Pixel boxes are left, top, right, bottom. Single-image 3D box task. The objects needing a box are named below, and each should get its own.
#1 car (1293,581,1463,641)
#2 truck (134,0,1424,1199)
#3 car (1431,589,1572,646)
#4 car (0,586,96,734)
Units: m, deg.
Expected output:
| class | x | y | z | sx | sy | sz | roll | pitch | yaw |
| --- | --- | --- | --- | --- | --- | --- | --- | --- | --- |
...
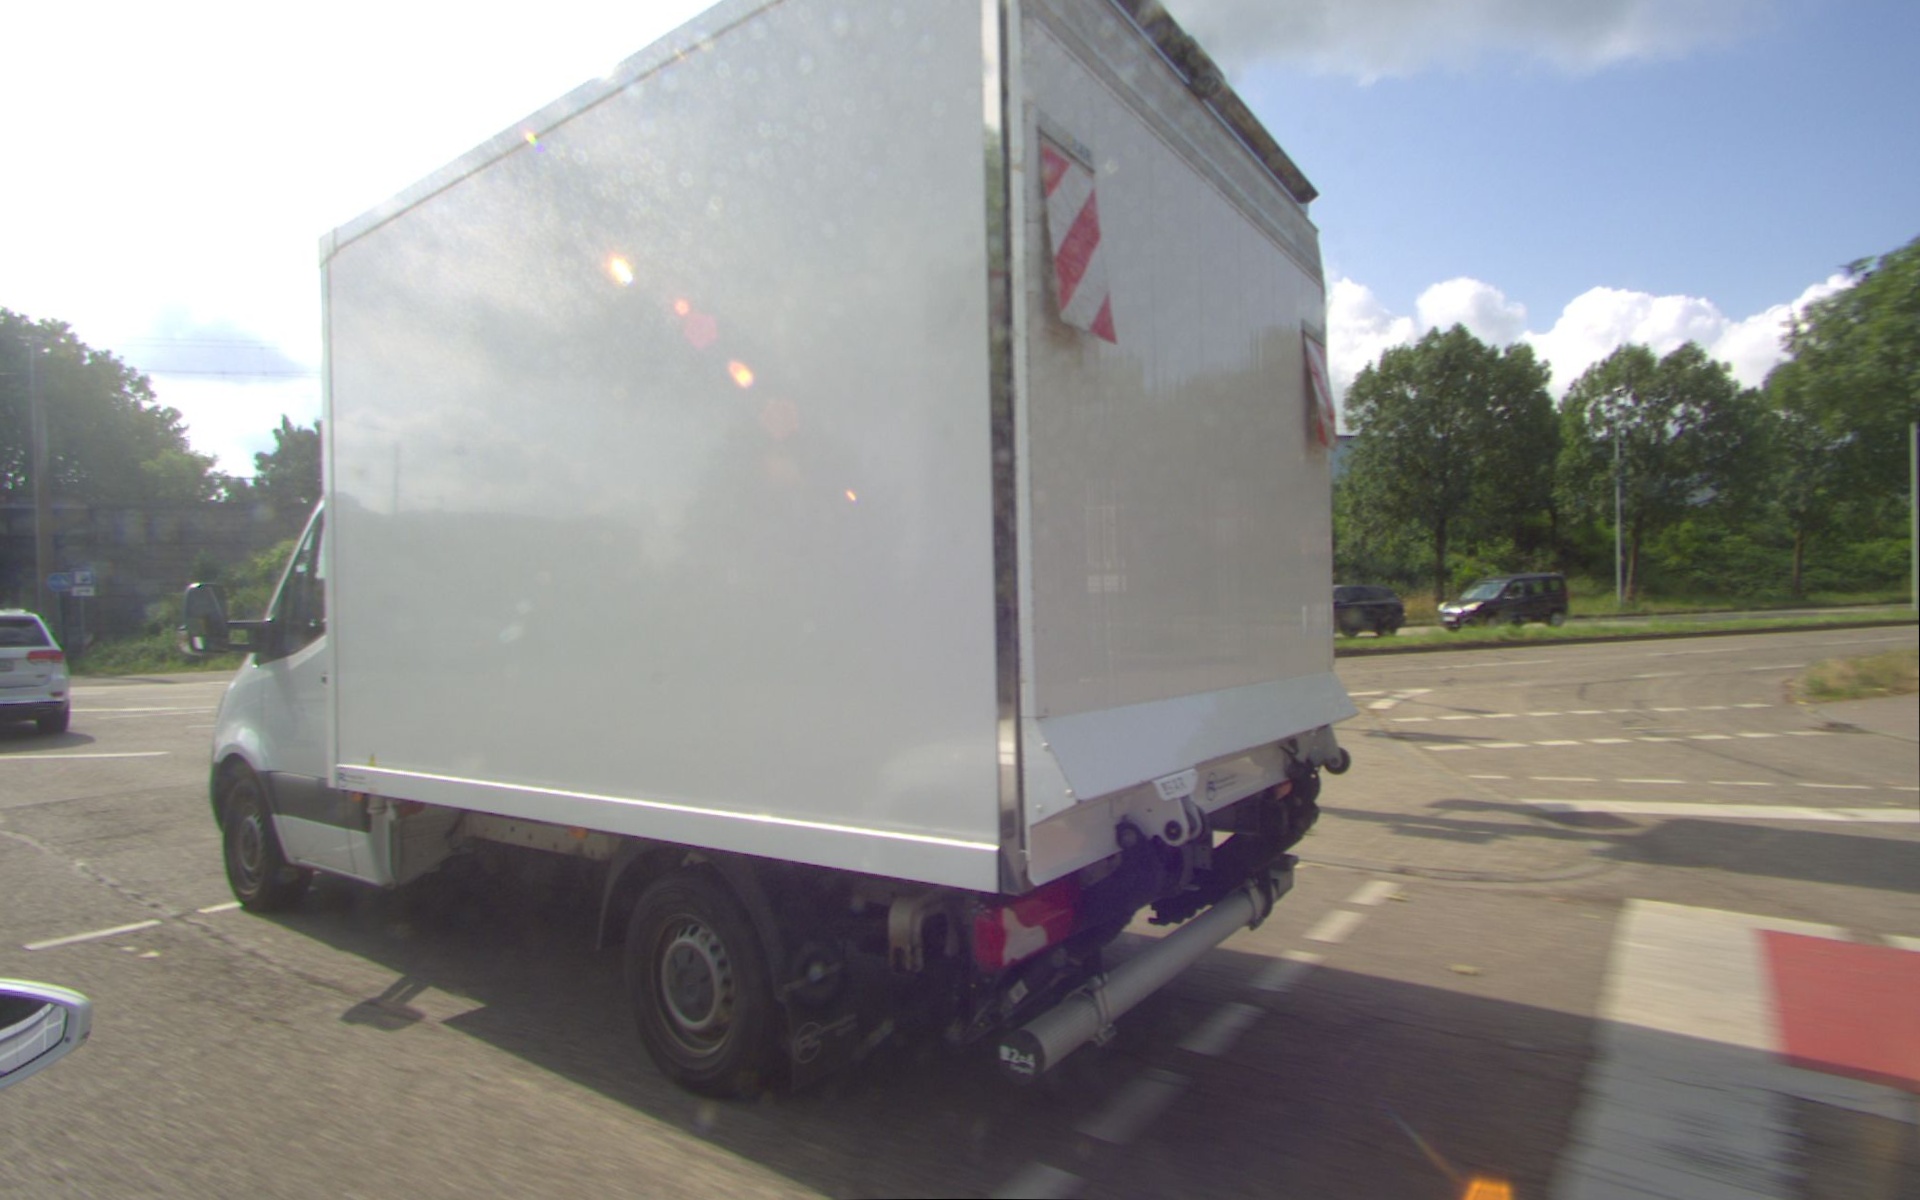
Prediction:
| class | x | y | z | sx | sy | sz | roll | pitch | yaw |
| --- | --- | --- | --- | --- | --- | --- | --- | --- | --- |
| car | 13.024 | 0.322 | 31.255 | 4.716 | 1.665 | 1.818 | -2 | 0 | -15 |
| truck | -1.326 | -0.019 | 4.650 | 5.949 | 3.161 | 2.439 | -2 | -1 | 36 |
| car | 17.725 | 0.562 | 32.802 | 4.131 | 1.656 | 1.640 | -2 | 0 | -18 |
| car | -14.263 | 0.778 | 14.349 | 4.451 | 1.927 | 1.987 | 0 | 1 | 37 |
